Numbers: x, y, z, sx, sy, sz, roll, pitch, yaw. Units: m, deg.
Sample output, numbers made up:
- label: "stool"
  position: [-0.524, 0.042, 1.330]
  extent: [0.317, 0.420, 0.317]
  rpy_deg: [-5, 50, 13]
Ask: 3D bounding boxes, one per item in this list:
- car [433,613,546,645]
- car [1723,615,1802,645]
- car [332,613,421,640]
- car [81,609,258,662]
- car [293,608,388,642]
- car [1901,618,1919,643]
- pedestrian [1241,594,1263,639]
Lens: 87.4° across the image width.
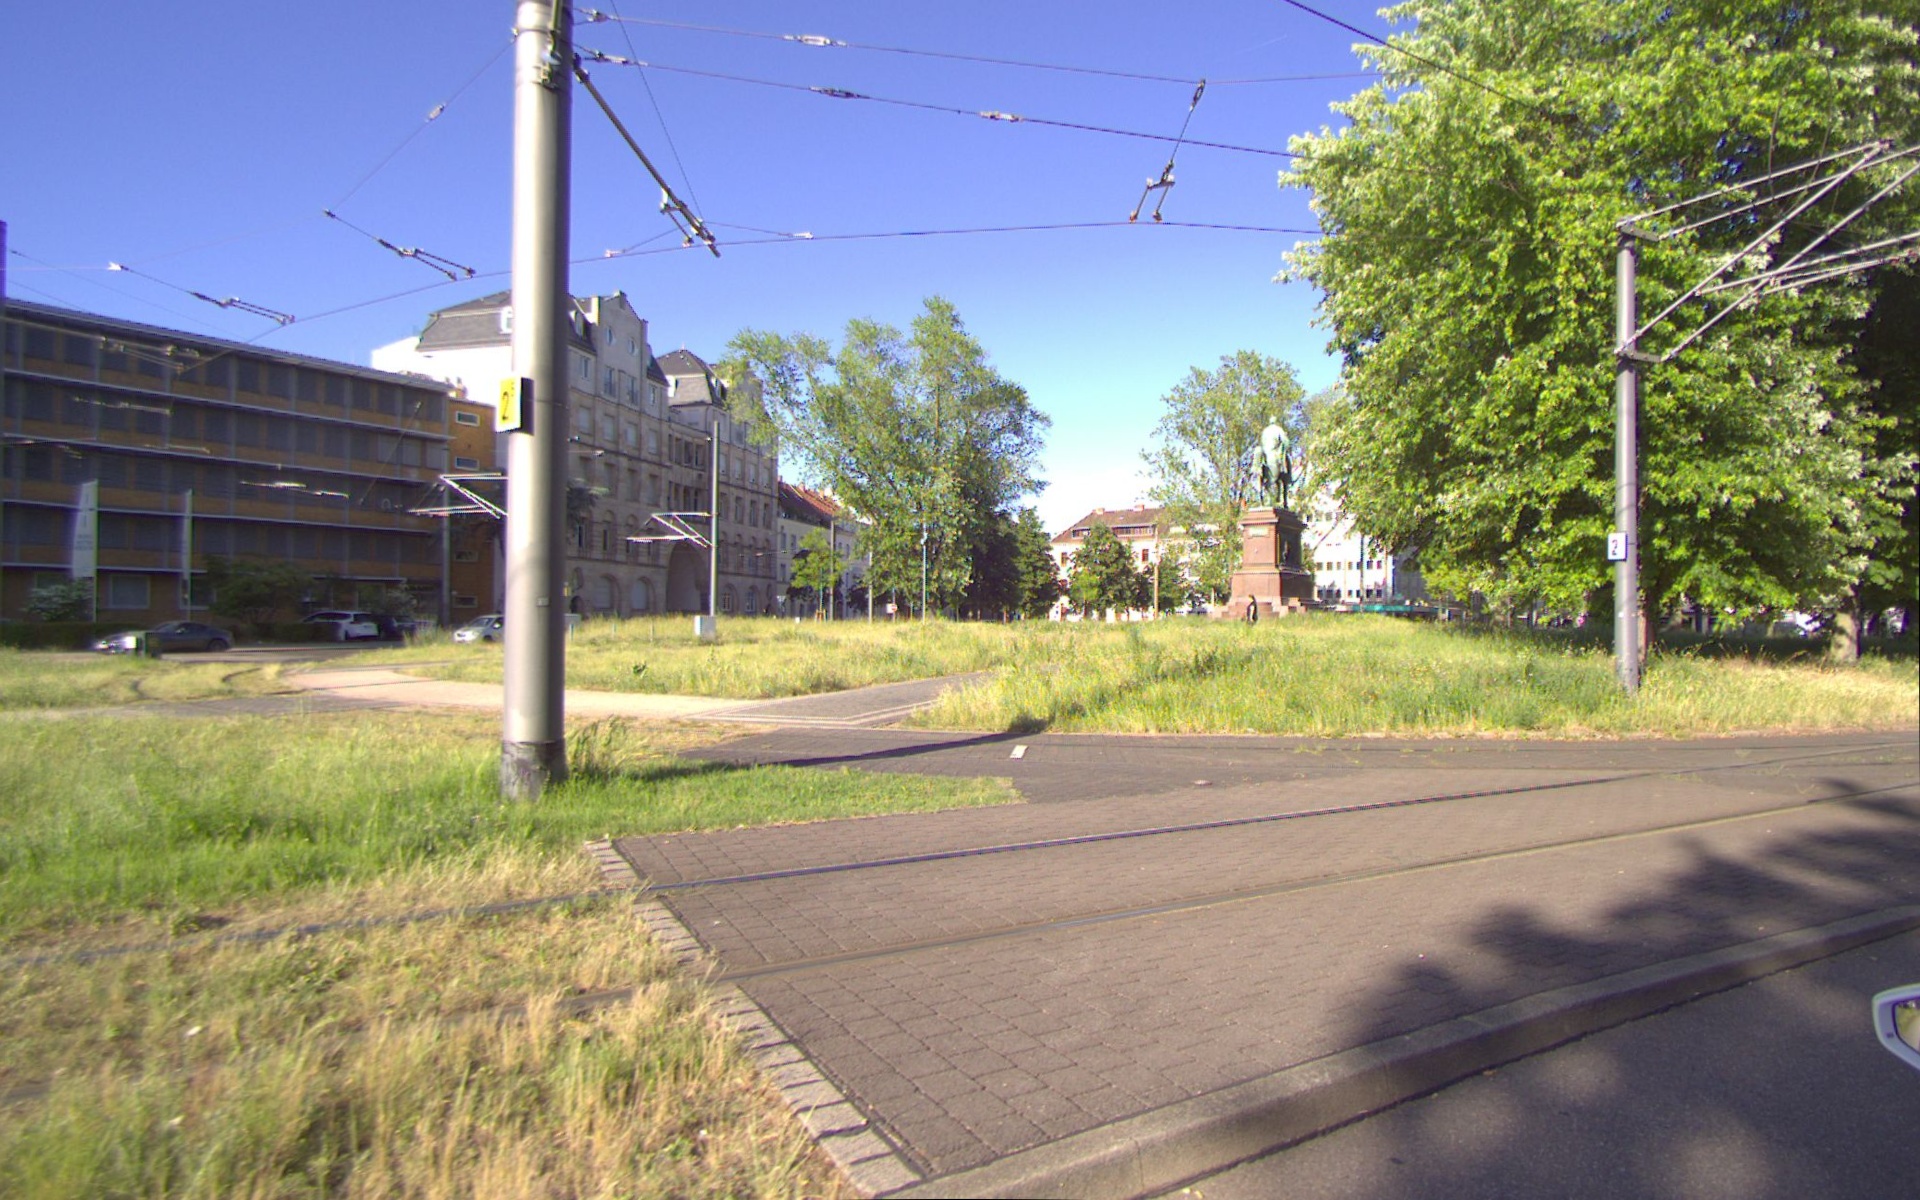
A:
- label: "car"
  position: [-22.624, 1.346, 48.499]
  extent: [1.963, 1.372, 4.761]
  rpy_deg: [2, 0, 27]
- label: "car"
  position: [69.968, 2.644, 87.719]
  extent: [5.270, 2.345, 1.992]
  rpy_deg: [2, 0, 39]
- label: "car"
  position: [-33.085, 1.489, 57.033]
  extent: [3.919, 1.359, 2.001]
  rpy_deg: [2, 0, 8]
- label: "car"
  position: [-26.939, 1.245, 34.371]
  extent: [1.965, 1.532, 4.274]
  rpy_deg: [1, -4, 32]
- label: "car"
  position: [-33.574, 1.331, 54.482]
  extent: [3.919, 1.602, 2.001]
  rpy_deg: [2, 0, 8]
- label: "car"
  position: [82.731, 2.685, 84.096]
  extent: [5.502, 2.040, 1.812]
  rpy_deg: [2, 0, 35]
- label: "pedestrian"
  position: [10.778, 0.600, 37.121]
  extent: [0.661, 1.637, 0.555]
  rpy_deg: [2, 0, 9]
